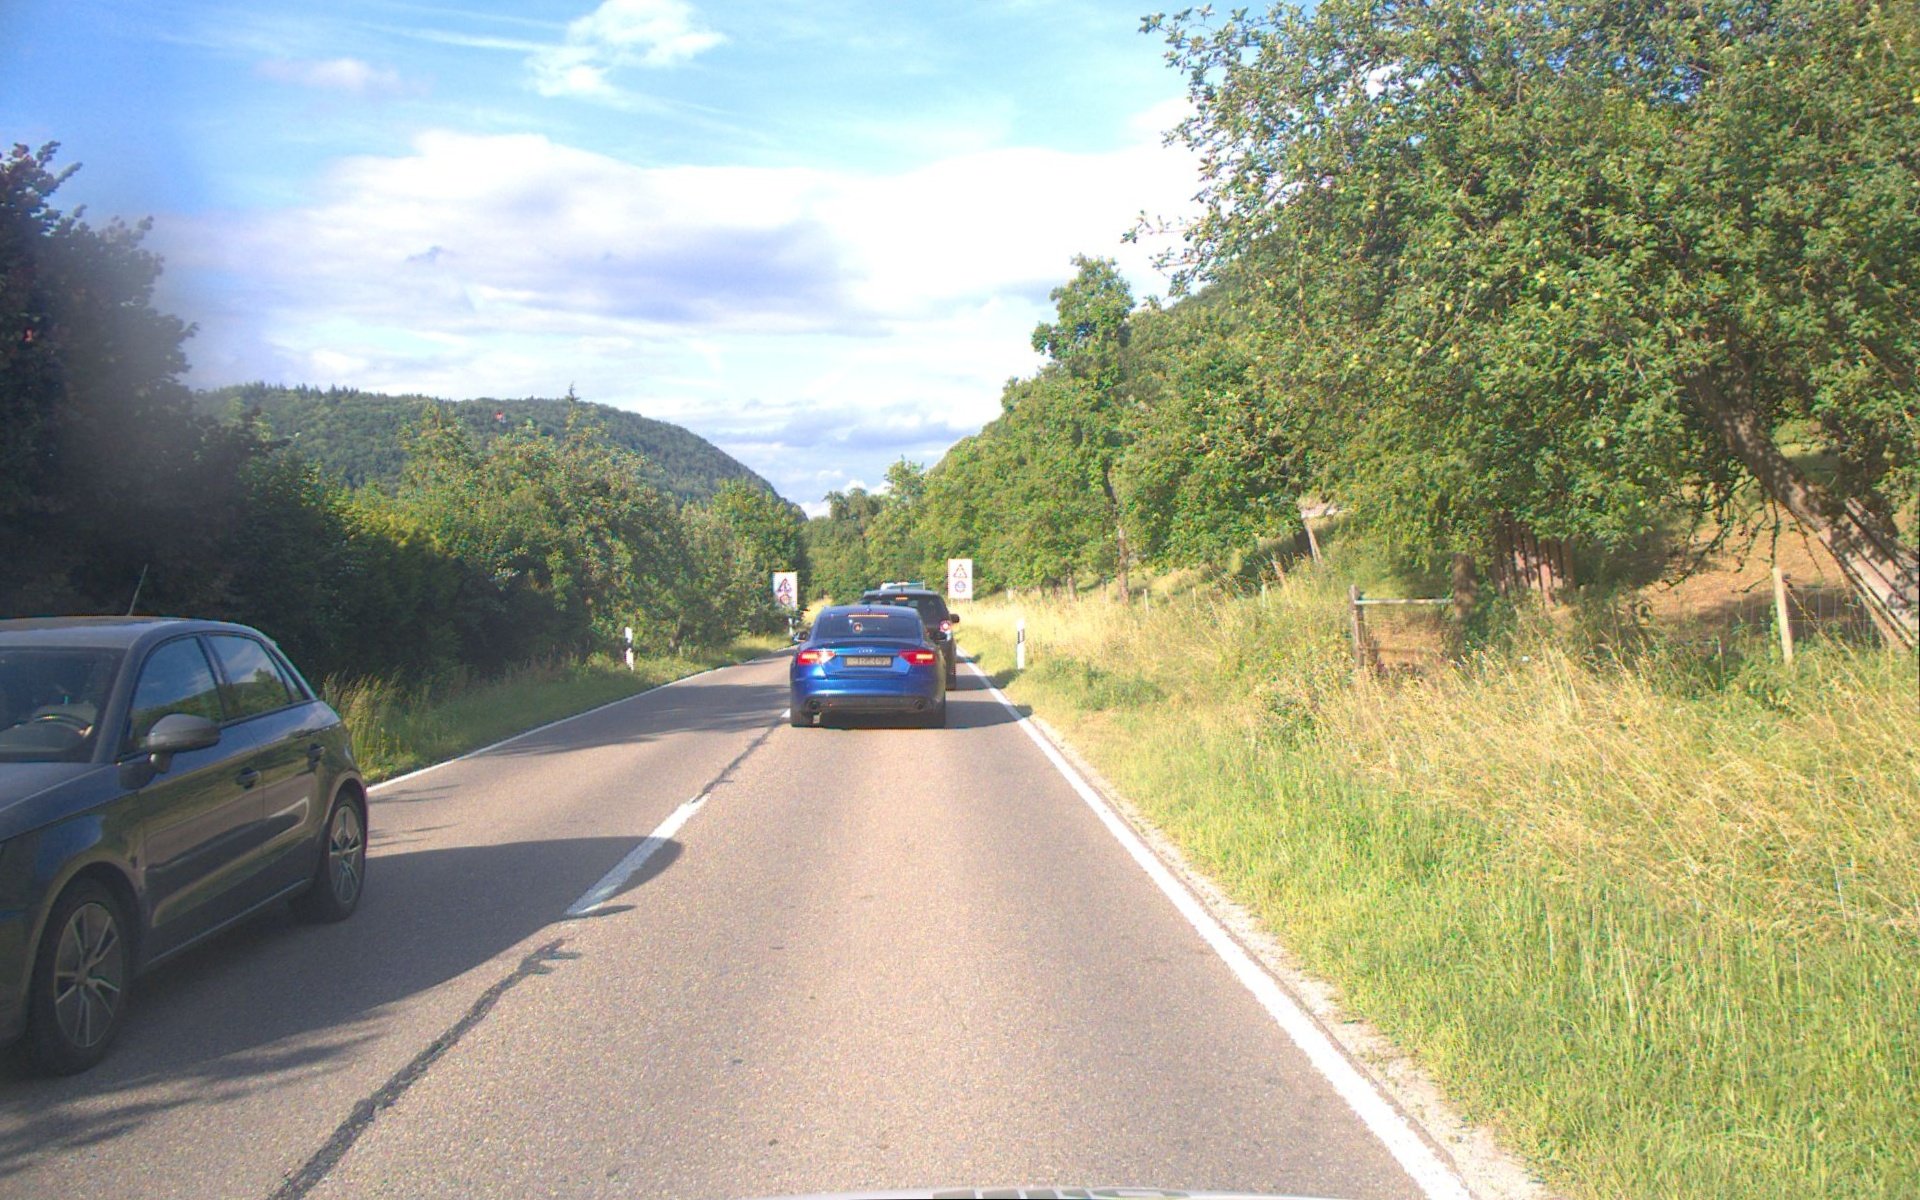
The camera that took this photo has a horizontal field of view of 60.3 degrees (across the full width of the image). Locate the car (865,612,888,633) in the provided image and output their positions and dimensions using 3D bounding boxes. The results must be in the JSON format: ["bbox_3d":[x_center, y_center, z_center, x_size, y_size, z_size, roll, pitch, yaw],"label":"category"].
[{"bbox_3d":[-6.493,1.751,128.543,1.529,1.522,3.773,1,0,-6],"label":"car"}]

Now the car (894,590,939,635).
[{"bbox_3d":[-1.703,0.467,63.623,1.659,1.652,3.787,0,0,-2],"label":"car"}]

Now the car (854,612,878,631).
[{"bbox_3d":[-7.881,1.807,138.641,1.530,1.522,3.768,1,0,-10],"label":"car"}]

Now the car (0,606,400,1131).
[{"bbox_3d":[-3.531,0.771,6.307,1.595,1.440,3.787,-2,0,-2],"label":"car"}]

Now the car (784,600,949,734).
[{"bbox_3d":[-1.071,0.723,19.962,1.769,1.406,4.213,-1,0,-2],"label":"car"}]

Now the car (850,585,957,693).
[{"bbox_3d":[-0.948,0.601,27.611,1.659,1.652,3.787,0,0,-2],"label":"car"}]

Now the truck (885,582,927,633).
[{"bbox_3d":[-2.663,0.353,80.953,1.911,2.386,5.091,1,0,-3],"label":"truck"}]

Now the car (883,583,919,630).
[{"bbox_3d":[-3.293,0.345,91.363,1.757,2.496,3.915,1,0,-5],"label":"car"}]

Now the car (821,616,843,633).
[{"bbox_3d":[-12.317,2.343,159.106,1.532,1.522,3.764,1,0,-14],"label":"car"}]
